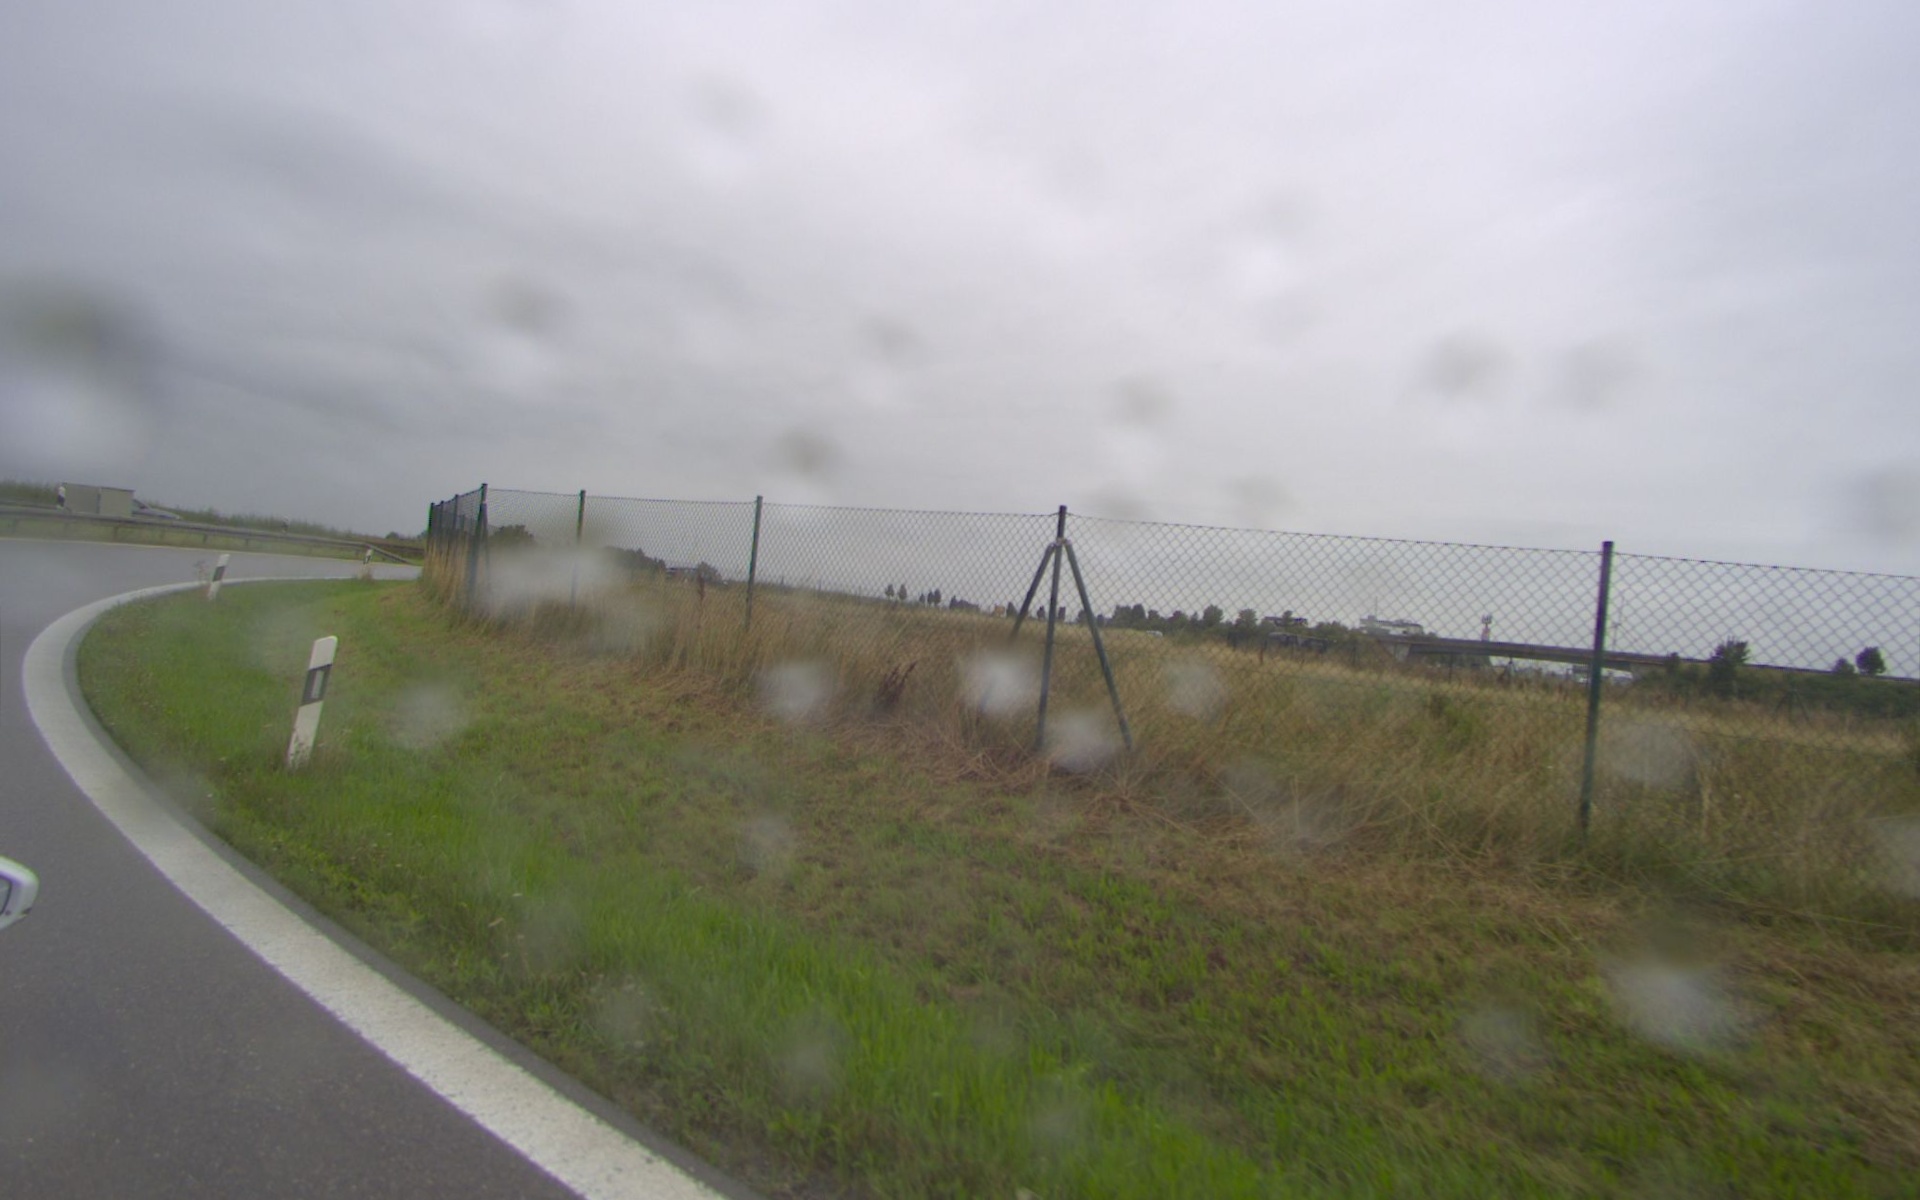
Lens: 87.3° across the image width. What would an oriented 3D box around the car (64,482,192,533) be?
[{"bbox_3d":[-38.690,-4.285,46.832,4.324,1.656,2.033,8,-1,-45],"label":"car"}]
